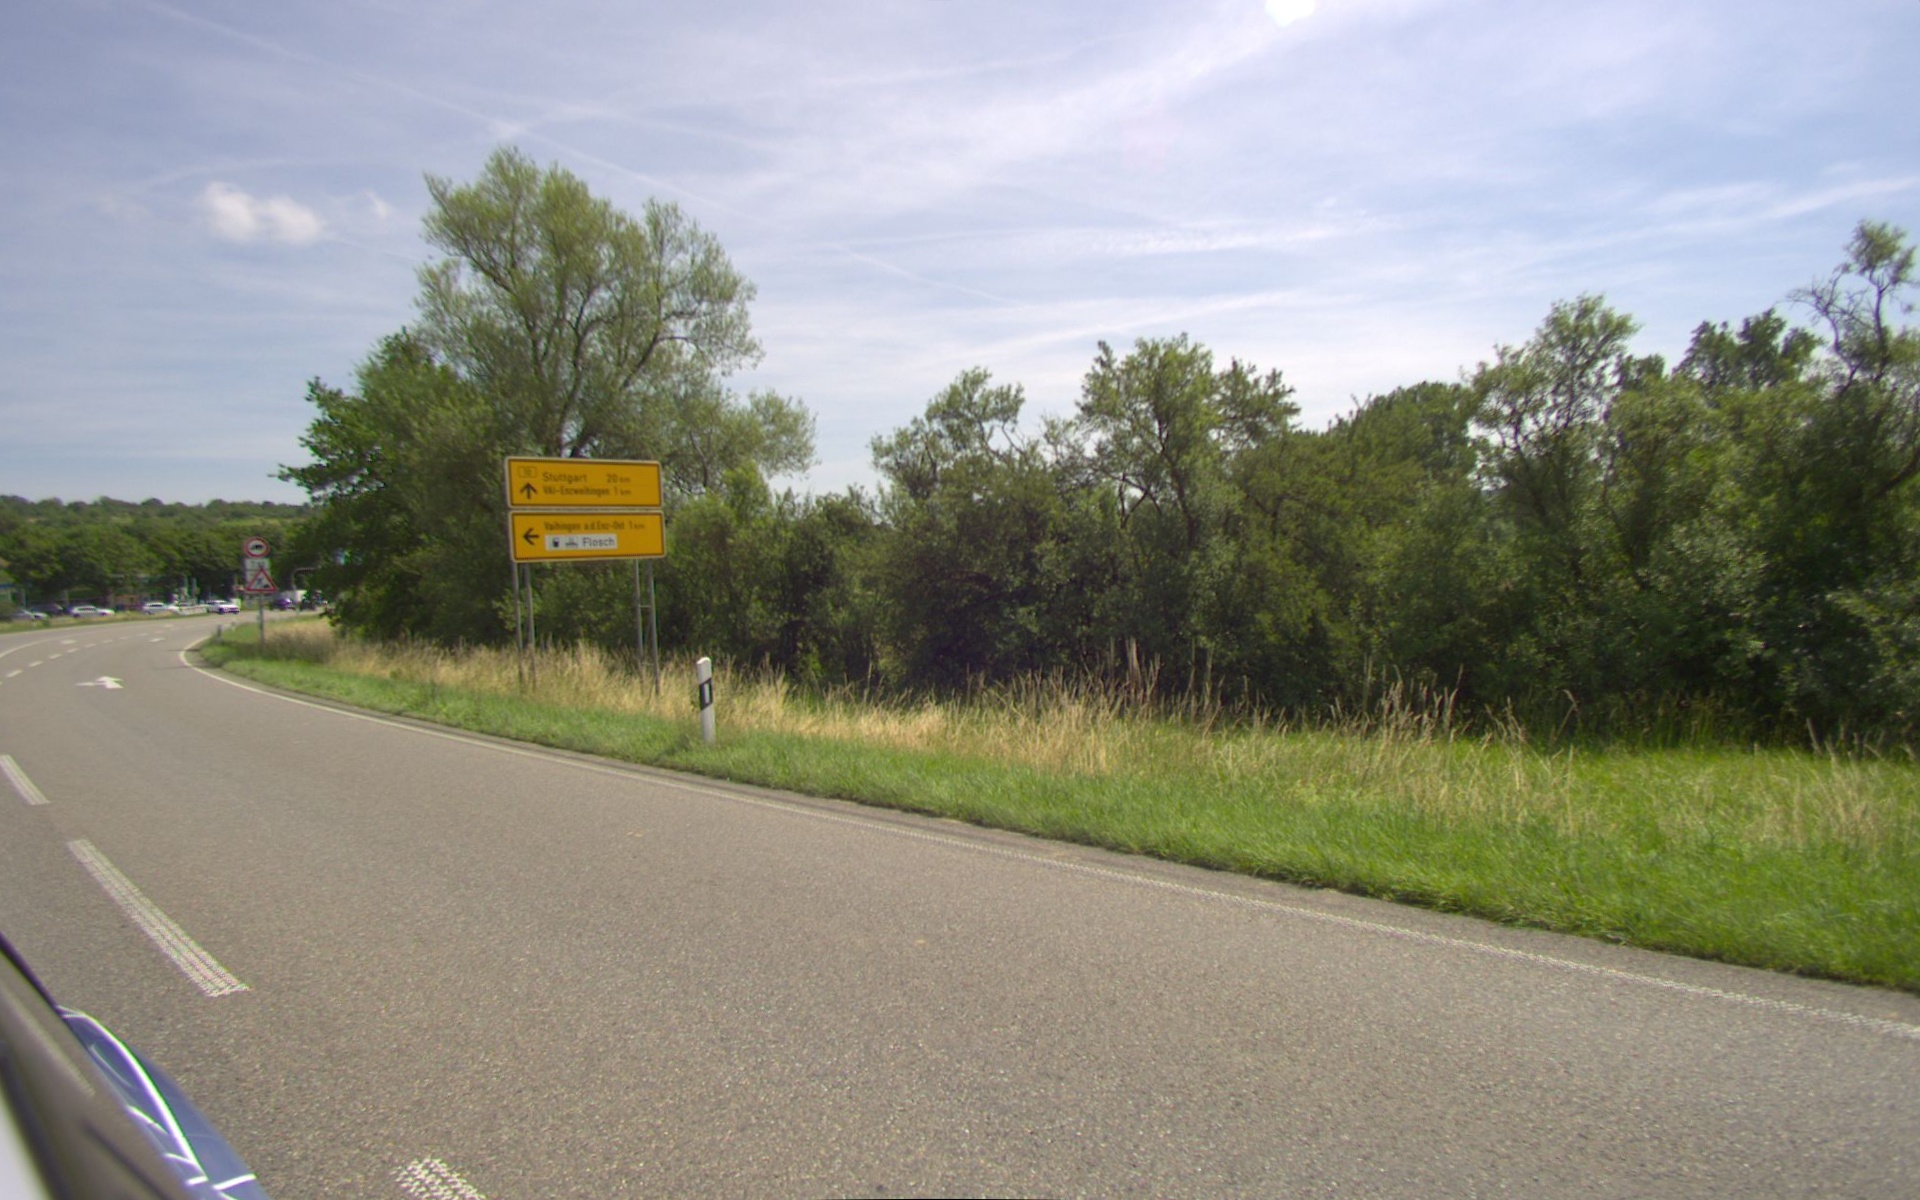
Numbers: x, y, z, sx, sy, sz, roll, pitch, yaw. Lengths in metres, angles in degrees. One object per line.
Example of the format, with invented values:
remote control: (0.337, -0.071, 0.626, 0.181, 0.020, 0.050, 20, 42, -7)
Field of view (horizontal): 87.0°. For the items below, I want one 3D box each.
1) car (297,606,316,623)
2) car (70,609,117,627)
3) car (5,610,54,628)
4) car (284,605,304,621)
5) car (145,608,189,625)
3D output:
car: (-82.621, 1.837, 128.001, 1.856, 2.029, 4.010, -1, 0, -35)
car: (-105.337, 2.191, 123.002, 3.931, 2.029, 1.894, -1, 0, -22)
car: (-110.976, 2.251, 120.761, 3.931, 2.029, 1.894, -1, 0, -25)
car: (-87.985, 1.724, 133.702, 1.858, 2.029, 4.007, -1, -1, -40)
car: (-98.716, 2.049, 125.956, 3.931, 2.029, 1.894, -1, 0, -22)
